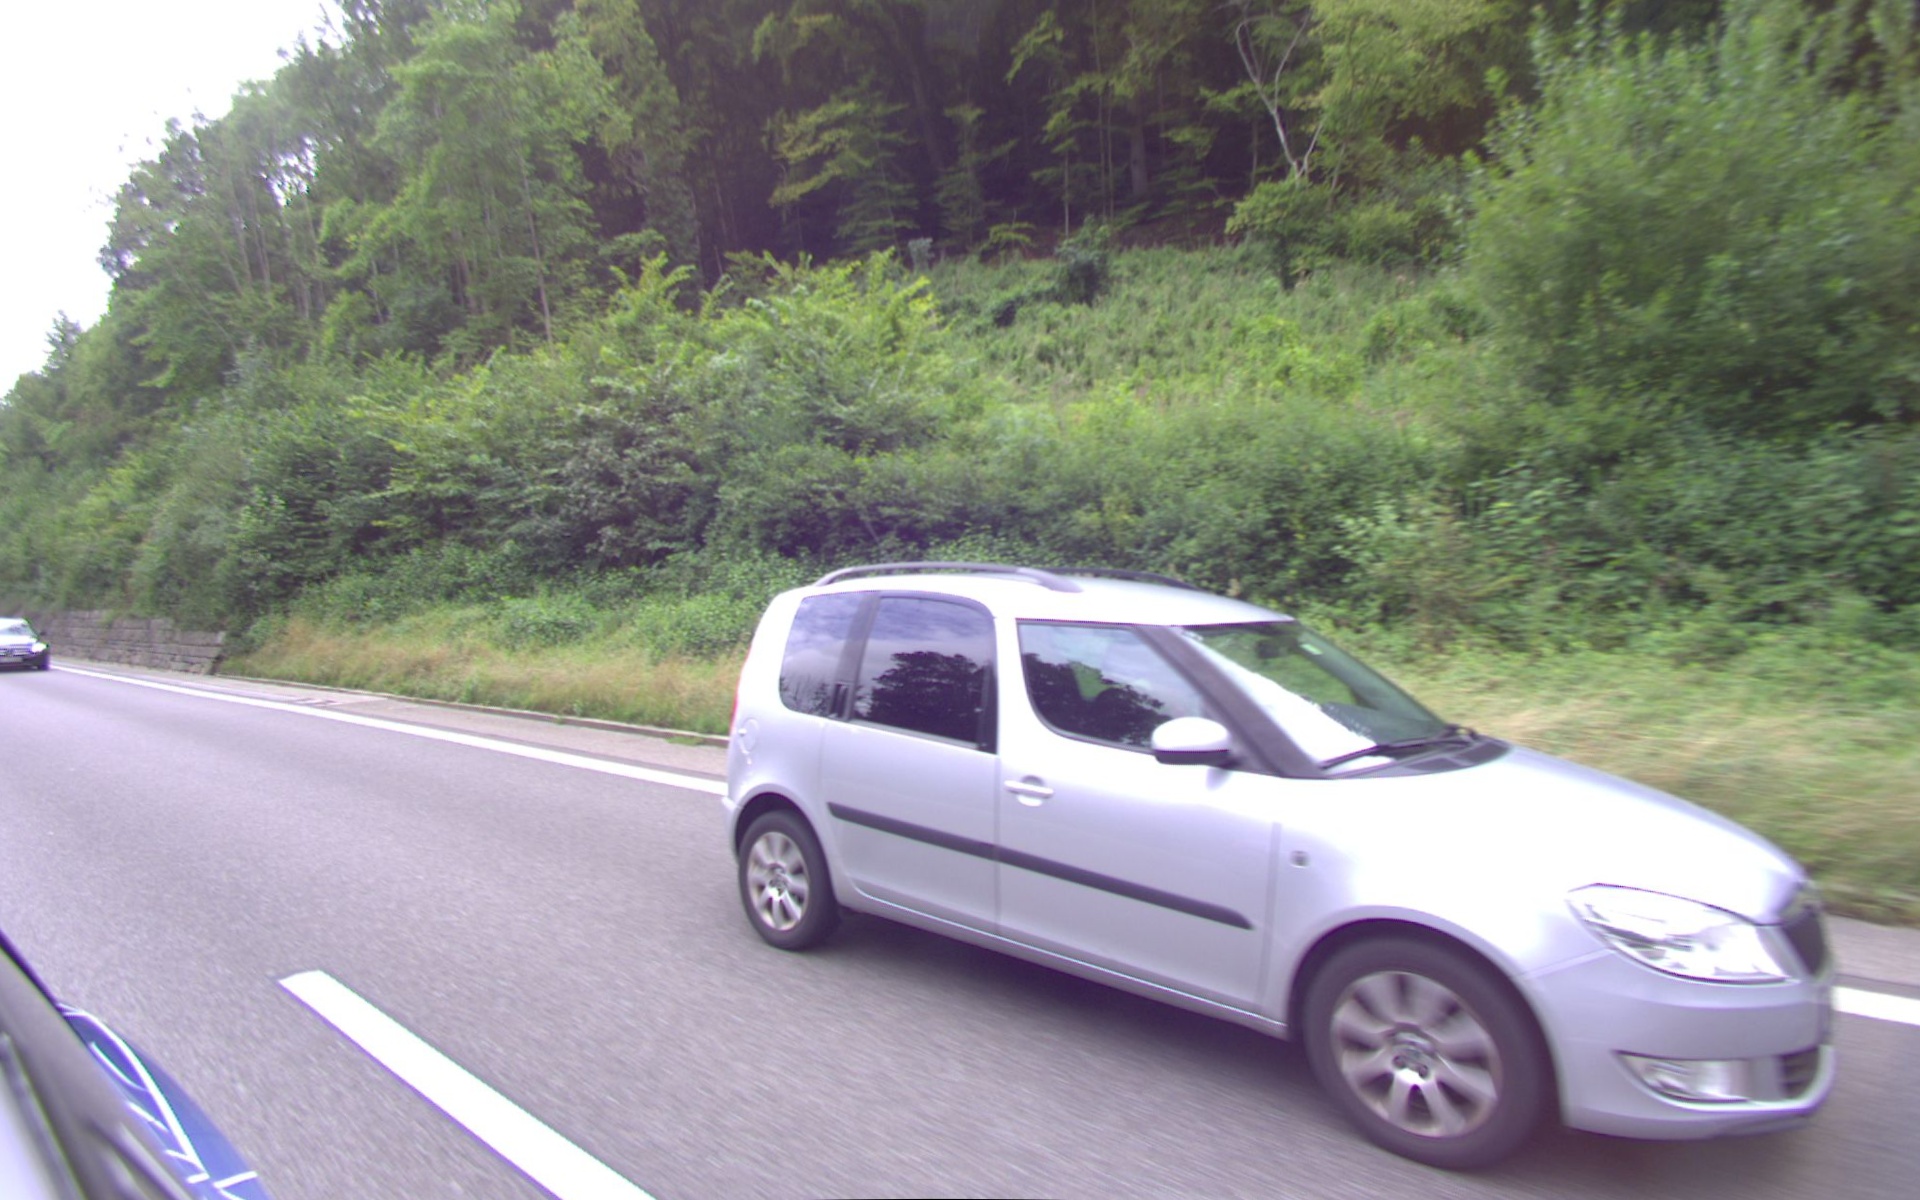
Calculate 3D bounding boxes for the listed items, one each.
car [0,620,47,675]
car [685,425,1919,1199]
[{"bbox_3d":[-27.436,1.340,28.739,5.122,1.475,1.741,-2,-3,43],"label":"car"},{"bbox_3d":[0.913,0.577,3.820,4.342,1.740,1.617,-1,-2,41],"label":"car"}]
